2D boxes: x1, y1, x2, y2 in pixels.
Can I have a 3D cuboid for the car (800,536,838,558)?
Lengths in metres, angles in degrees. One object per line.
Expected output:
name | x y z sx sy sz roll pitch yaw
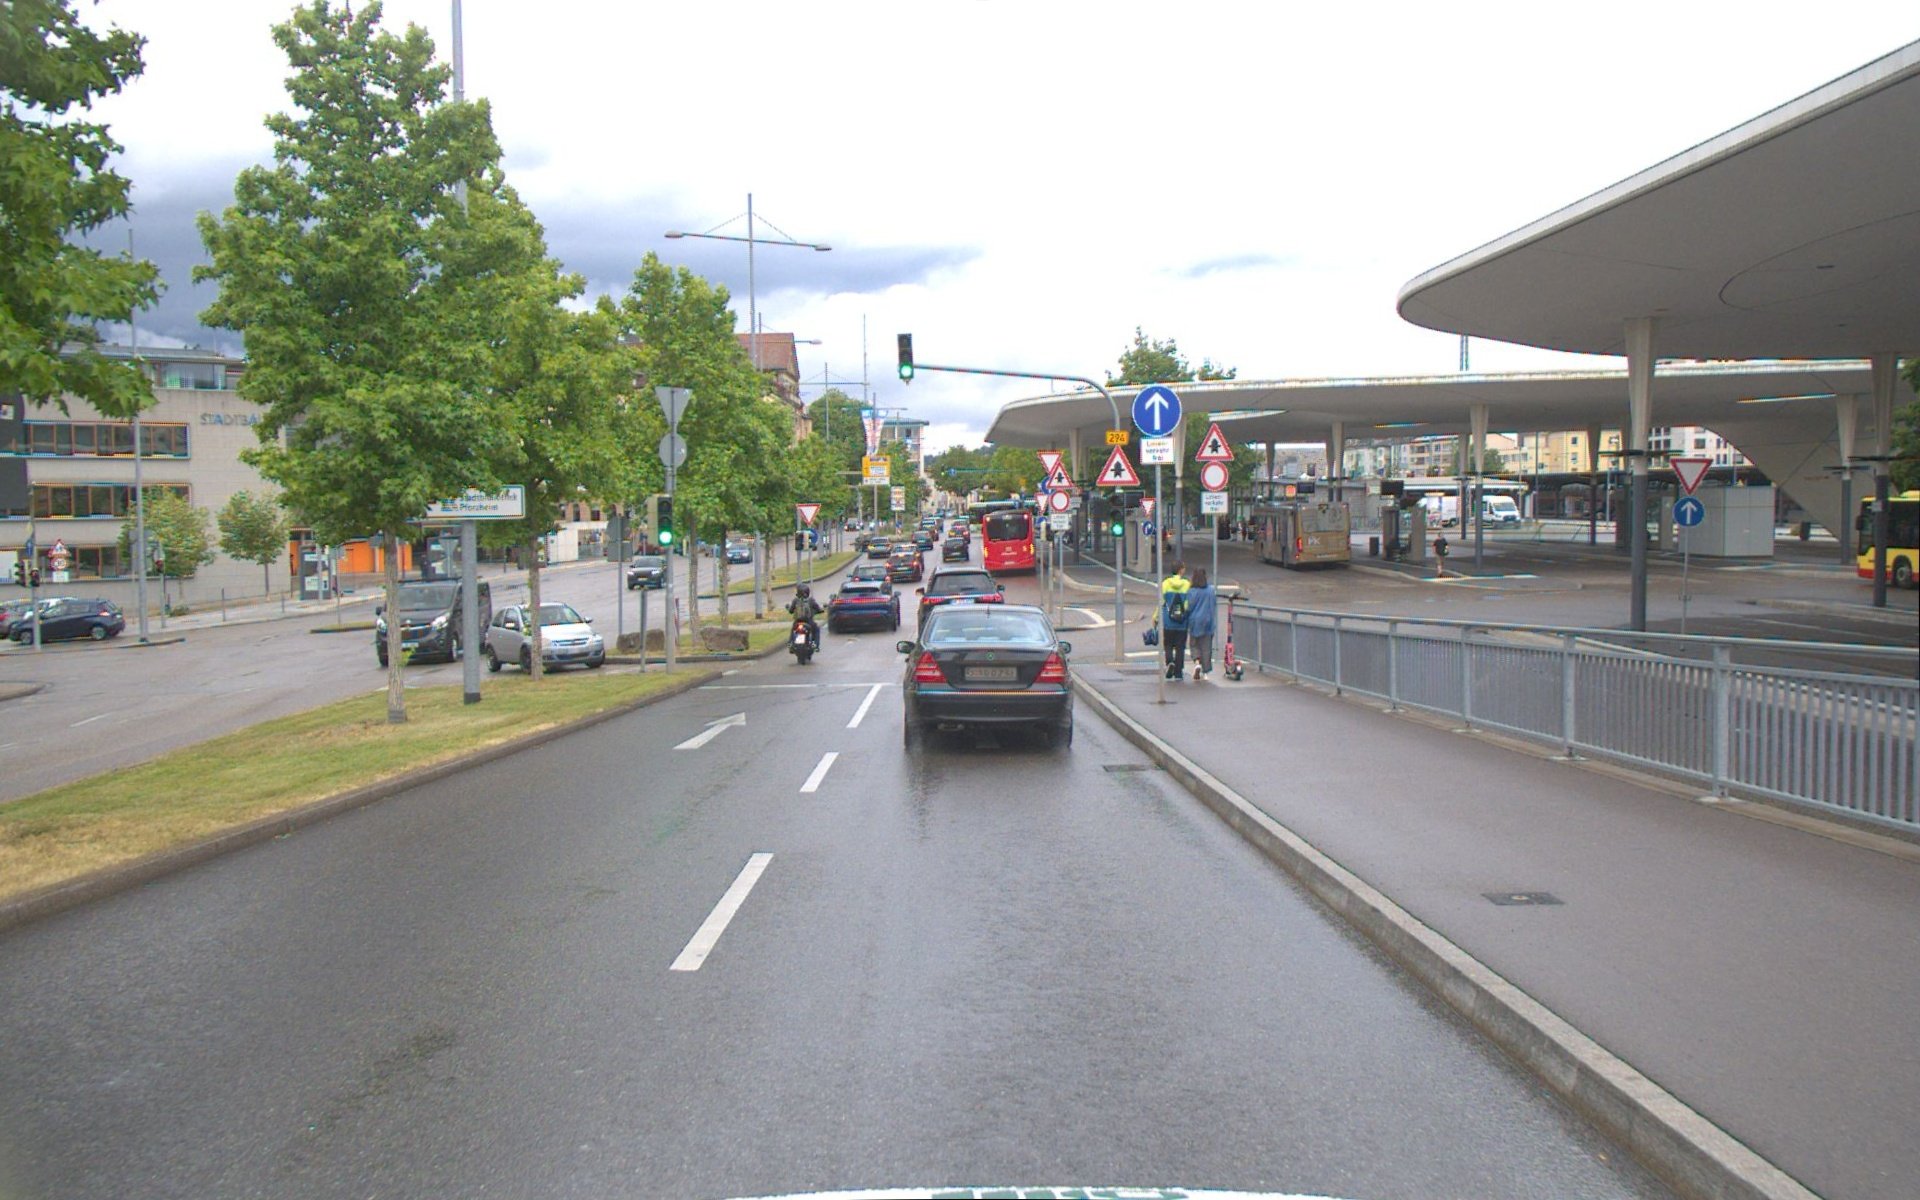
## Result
car | -12.433 -4.688 145.913 1.630 1.836 3.591 2 0 -38

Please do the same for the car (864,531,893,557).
car | -5.762 -3.964 117.400 1.827 1.713 4.000 1 1 -1

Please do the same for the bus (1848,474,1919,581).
bus | 31.190 -2.185 49.139 2.732 3.313 12.140 -2 2 -2

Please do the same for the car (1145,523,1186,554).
car | 10.762 -3.215 86.687 1.614 1.478 3.238 -2 4 -2

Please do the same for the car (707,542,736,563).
car | -20.620 -4.114 143.140 1.809 1.681 4.420 -2 3 0

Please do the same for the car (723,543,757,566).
car | -16.662 -3.461 125.714 1.809 1.530 4.922 -2 3 1

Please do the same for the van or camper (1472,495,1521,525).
van or camper | 41.291 -6.933 127.422 1.953 2.139 5.480 1 2 -1

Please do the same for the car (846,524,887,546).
car | -7.570 -5.226 133.178 1.711 1.588 3.727 -2 2 -32

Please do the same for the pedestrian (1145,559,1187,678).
pedestrian | 2.982 0.260 23.958 0.512 1.699 0.580 -1 0 -1

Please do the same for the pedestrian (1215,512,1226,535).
pedestrian | 18.520 -5.423 117.636 0.568 1.606 0.560 1 0 29

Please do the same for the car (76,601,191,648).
car | -33.372 0.980 66.870 3.587 1.463 1.830 -4 4 -2

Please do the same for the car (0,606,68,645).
car | -43.426 1.185 76.088 1.732 1.521 3.773 0 4 38

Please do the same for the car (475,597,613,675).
car | -8.991 0.744 35.546 1.618 1.473 3.830 -5 2 -34

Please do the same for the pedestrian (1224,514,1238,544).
pedestrian | 18.730 -4.884 114.257 0.709 2.049 0.669 1 0 26

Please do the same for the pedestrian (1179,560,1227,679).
pedestrian | 3.504 0.285 23.884 0.577 1.700 0.580 1 -1 -1

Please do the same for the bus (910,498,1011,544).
bus | -0.096 -7.492 157.727 2.820 4.056 11.698 -4 4 -39

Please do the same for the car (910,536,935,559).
car | -2.885 -4.094 128.835 1.827 1.713 4.000 1 1 -1

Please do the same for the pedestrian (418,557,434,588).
pedestrian | -30.957 -1.599 95.877 0.464 1.712 0.764 -2 3 6

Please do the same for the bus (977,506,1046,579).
bus | 2.590 -3.118 86.200 3.219 3.348 10.883 -3 4 1

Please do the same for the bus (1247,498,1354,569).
bus | 16.647 -3.412 81.879 2.666 3.095 12.093 -3 3 0

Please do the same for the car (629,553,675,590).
car | -16.845 -1.590 90.695 1.870 1.690 4.857 -2 4 -4

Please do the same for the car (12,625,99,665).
car | -35.043 1.728 64.041 3.508 1.374 1.479 0 3 34

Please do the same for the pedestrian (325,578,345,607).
pedestrian | -31.460 -0.375 83.275 0.664 1.416 0.721 -2 3 -2

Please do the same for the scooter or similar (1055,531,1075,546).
scooter or similar | 7.445 -4.352 117.377 1.216 1.030 0.765 -1 3 14

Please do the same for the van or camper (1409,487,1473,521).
van or camper | 38.862 -7.737 133.765 4.514 2.602 2.118 1 1 -2

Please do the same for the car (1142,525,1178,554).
car | 12.748 -3.890 105.754 1.677 1.690 4.240 -1 3 -1

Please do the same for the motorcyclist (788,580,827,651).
motorcyclist | -3.087 0.303 33.499 0.628 1.370 0.689 -3 3 3

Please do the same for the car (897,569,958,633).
car | -0.968 -0.005 51.103 1.706 1.593 3.872 -4 4 0

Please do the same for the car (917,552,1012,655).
car | 0.087 0.017 38.123 1.918 1.907 4.875 -4 4 0

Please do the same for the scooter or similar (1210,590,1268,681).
scooter or similar | 4.003 0.497 23.819 0.454 1.242 1.859 -2 0 -1

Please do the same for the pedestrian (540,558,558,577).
pedestrian | -30.319 -2.387 121.989 0.955 1.289 0.850 3 5 20

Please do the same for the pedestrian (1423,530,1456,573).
pedestrian | 19.418 -1.966 67.020 0.709 1.712 1.013 -5 3 -26

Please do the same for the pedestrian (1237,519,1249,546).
pedestrian | 18.277 -4.363 106.785 0.549 1.721 0.613 -2 3 -7

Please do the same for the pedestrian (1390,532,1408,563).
pedestrian | 21.040 -2.520 79.276 0.776 1.401 0.634 -1 3 17

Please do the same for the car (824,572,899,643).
car | -2.795 0.168 47.788 1.779 1.597 4.405 -4 4 0

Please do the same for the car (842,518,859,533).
car | -13.480 -9.213 204.079 1.744 1.593 3.431 -4 4 0

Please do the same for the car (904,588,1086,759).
car | 0.305 0.664 17.389 1.663 1.487 4.304 -1 1 -1

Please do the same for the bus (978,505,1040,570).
bus | 2.711 -3.656 94.360 3.224 3.345 8.853 -3 4 1

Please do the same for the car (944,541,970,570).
car | -0.173 -2.833 105.238 1.543 1.593 3.872 -4 4 0

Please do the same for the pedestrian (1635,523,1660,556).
pedestrian | 33.832 -2.994 81.399 0.779 1.613 0.907 0 2 -6

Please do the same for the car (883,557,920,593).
car | -2.910 -1.268 82.808 1.543 1.530 3.873 -4 4 1

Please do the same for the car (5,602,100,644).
car | -39.943 1.008 72.882 1.593 1.521 3.586 -2 3 15

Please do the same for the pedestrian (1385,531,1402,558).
pedestrian | 21.297 -2.730 81.272 0.776 1.247 0.634 -1 3 17

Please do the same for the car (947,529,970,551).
car | -0.140 -5.046 138.658 1.827 1.713 4.000 1 1 -1

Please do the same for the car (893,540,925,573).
car | -2.839 -2.480 92.997 1.543 1.593 3.872 -4 4 0

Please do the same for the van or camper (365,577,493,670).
van or camper | -13.552 0.587 42.534 2.176 2.108 5.273 -3 0 -9

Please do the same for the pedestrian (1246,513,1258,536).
pedestrian | 20.822 -5.383 117.958 0.569 1.606 0.559 1 0 35

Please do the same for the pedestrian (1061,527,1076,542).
pedestrian | 7.677 -4.637 117.058 0.894 1.002 0.634 -1 -1 14

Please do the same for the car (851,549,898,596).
car | -3.500 -1.154 68.161 1.642 1.650 3.872 -4 4 0

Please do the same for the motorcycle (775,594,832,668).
motorcycle | -3.124 0.603 33.185 0.776 1.283 1.857 -3 4 3

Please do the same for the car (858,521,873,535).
car | -12.014 -9.179 209.997 1.543 1.593 3.431 -4 4 0
